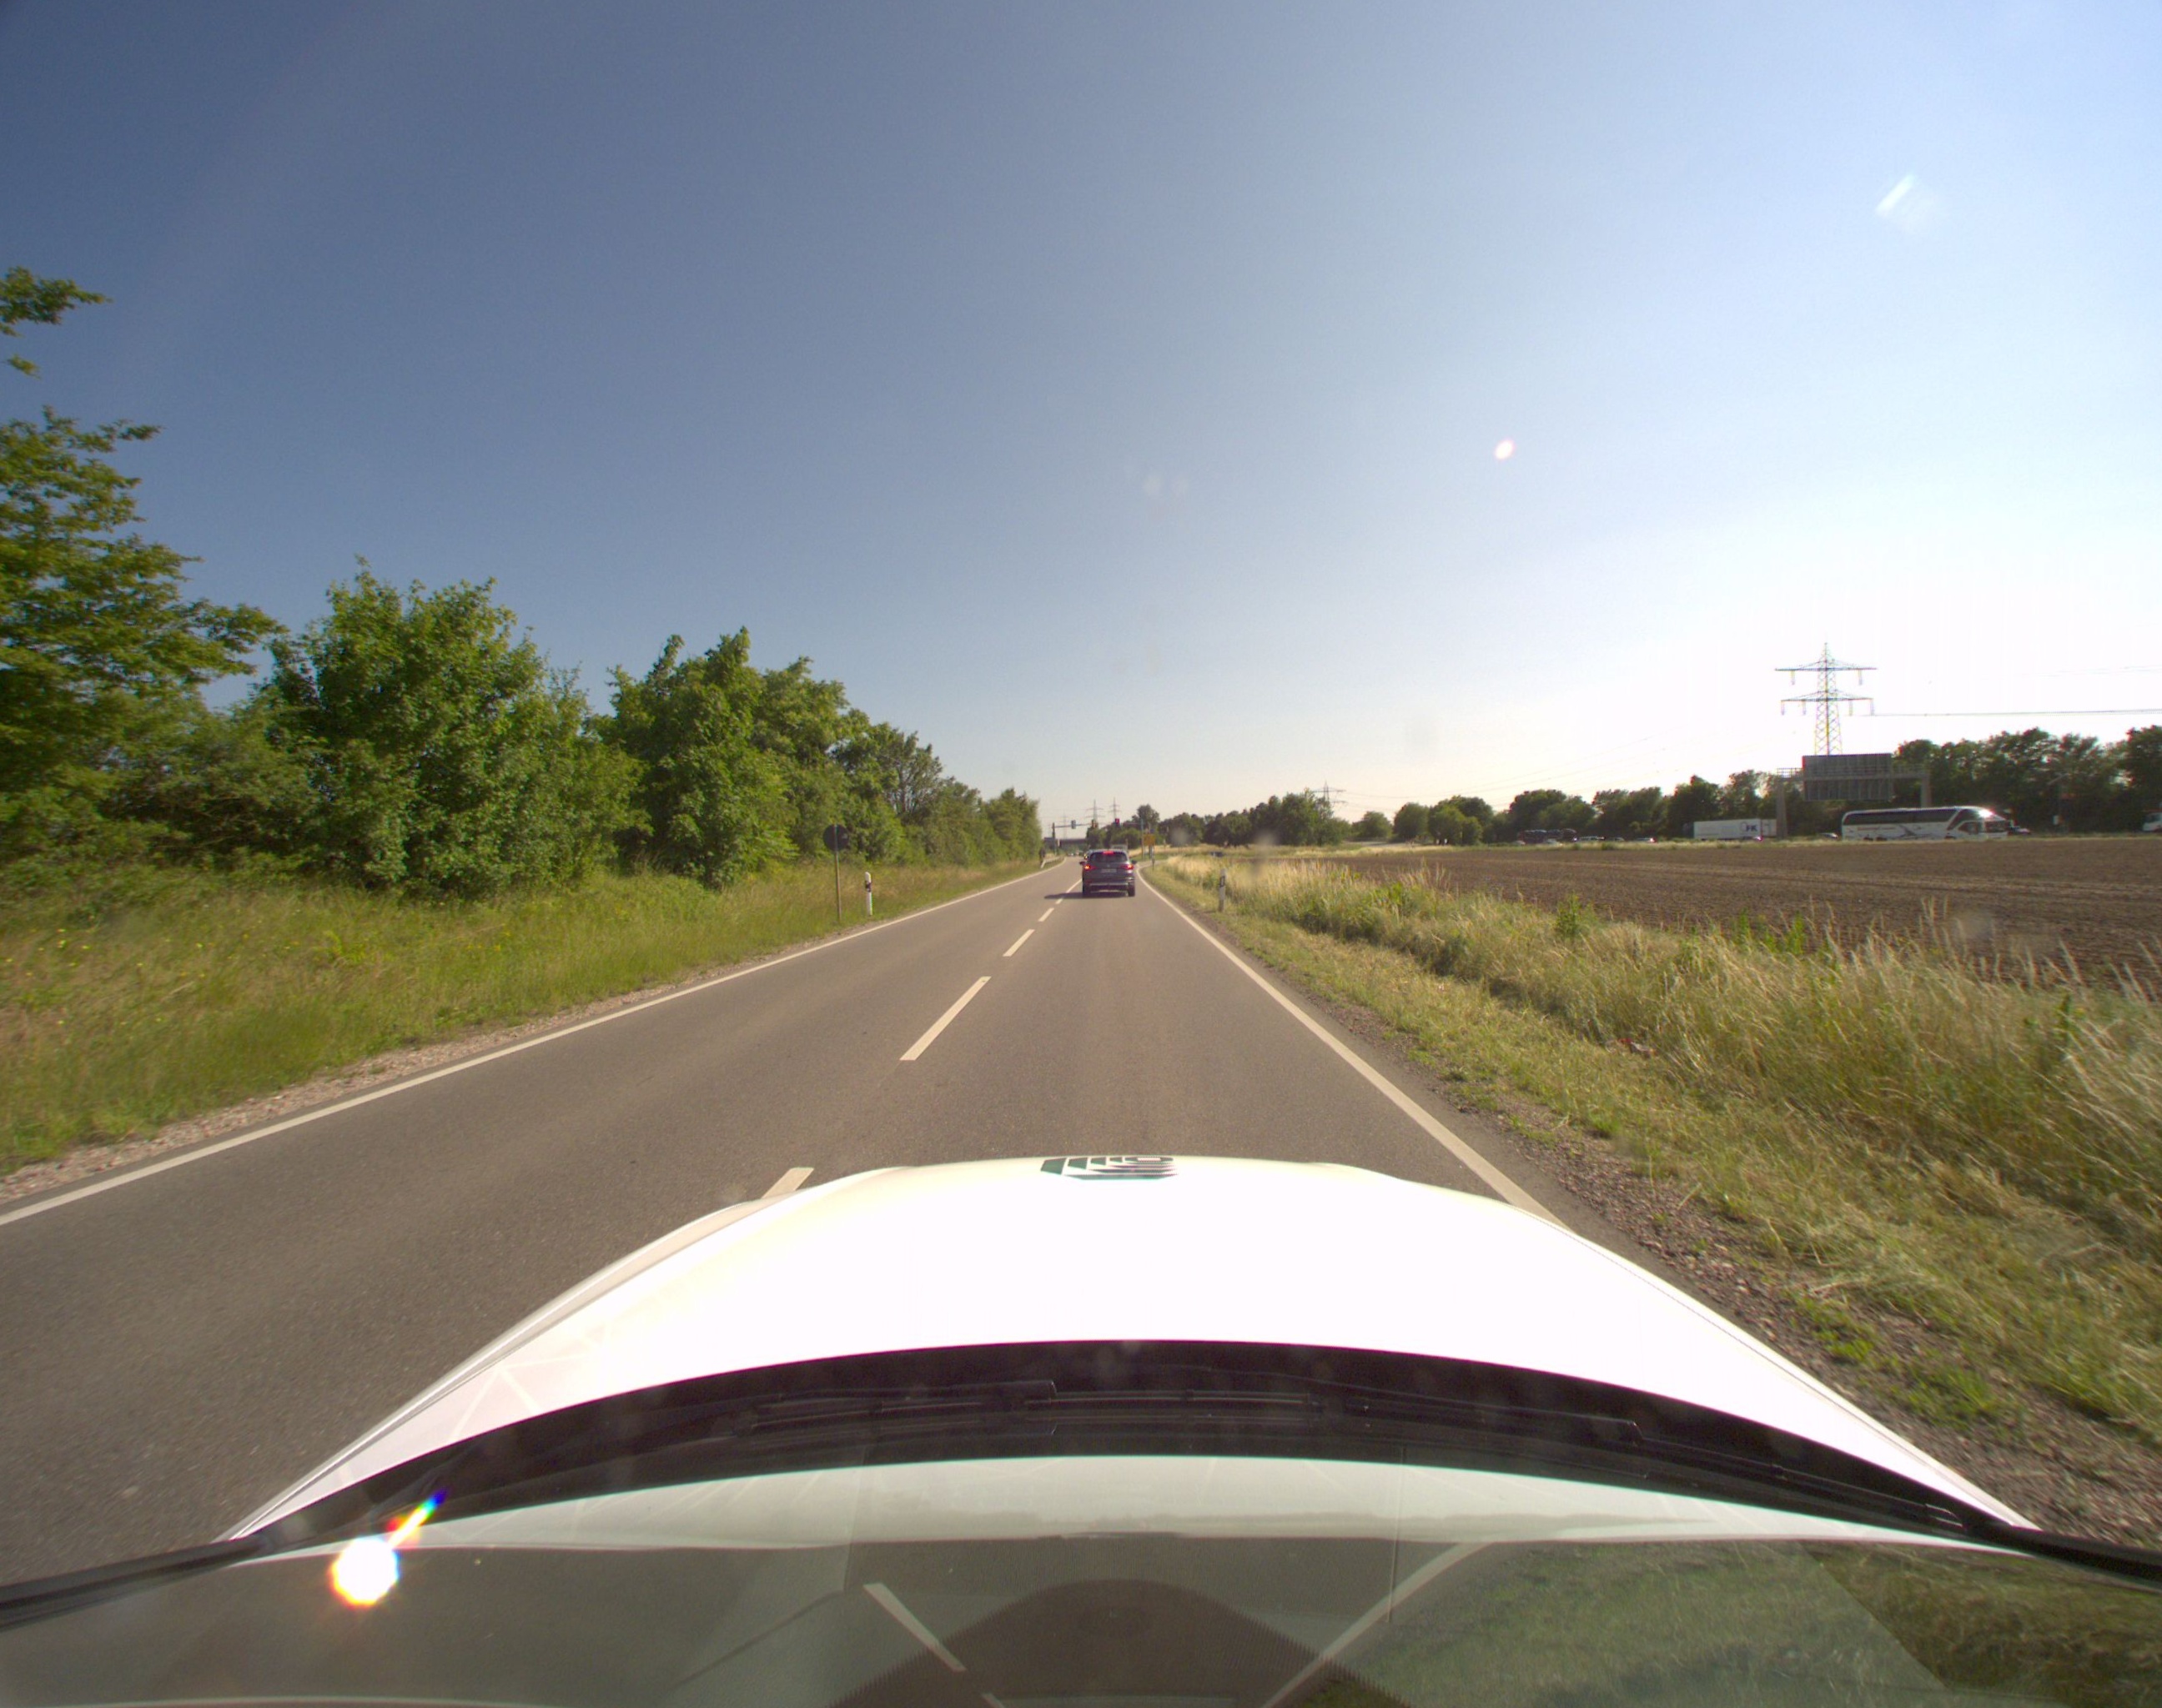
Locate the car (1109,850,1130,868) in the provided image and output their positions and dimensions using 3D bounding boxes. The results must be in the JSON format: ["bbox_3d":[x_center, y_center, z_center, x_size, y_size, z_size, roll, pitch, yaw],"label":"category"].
[{"bbox_3d":[3.424,0.413,72.585,1.779,1.543,4.002,-1,0,2],"label":"car"}]

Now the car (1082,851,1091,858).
[{"bbox_3d":[1.116,0.120,163.079,1.679,1.380,3.531,-1,0,-1],"label":"car"}]

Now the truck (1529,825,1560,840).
[{"bbox_3d":[105.112,-4.786,184.791,3.273,3.267,6.430,-2,1,1],"label":"truck"}]

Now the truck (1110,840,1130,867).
[{"bbox_3d":[4.642,-0.055,97.206,2.328,3.066,5.814,-1,0,3],"label":"truck"}]

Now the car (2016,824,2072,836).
[{"bbox_3d":[96.784,-2.424,81.873,1.390,1.151,3.581,0,1,0],"label":"car"}]

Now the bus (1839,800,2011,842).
[{"bbox_3d":[85.626,-3.216,83.340,2.455,3.803,14.545,-2,1,0],"label":"bus"}]

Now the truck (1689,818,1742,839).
[{"bbox_3d":[105.002,-4.196,134.922,3.273,3.267,6.980,-2,0,1],"label":"truck"}]

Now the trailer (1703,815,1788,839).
[{"bbox_3d":[104.912,-4.193,128.978,3.273,3.267,12.458,-2,0,1],"label":"trailer"}]

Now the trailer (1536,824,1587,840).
[{"bbox_3d":[105.003,-4.709,178.344,3.273,3.267,13.455,-2,1,1],"label":"trailer"}]

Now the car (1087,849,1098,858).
[{"bbox_3d":[2.010,-0.091,142.920,1.811,1.540,3.997,-2,0,-2],"label":"car"}]

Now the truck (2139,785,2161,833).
[{"bbox_3d":[103.231,-4.351,74.744,3.410,4.452,6.705,-2,0,0],"label":"truck"}]

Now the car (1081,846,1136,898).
[{"bbox_3d":[0.960,0.568,28.534,1.779,1.629,4.002,-1,0,2],"label":"car"}]

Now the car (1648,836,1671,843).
[{"bbox_3d":[108.089,-2.687,152.141,1.660,1.147,3.733,0,0,2],"label":"car"}]
